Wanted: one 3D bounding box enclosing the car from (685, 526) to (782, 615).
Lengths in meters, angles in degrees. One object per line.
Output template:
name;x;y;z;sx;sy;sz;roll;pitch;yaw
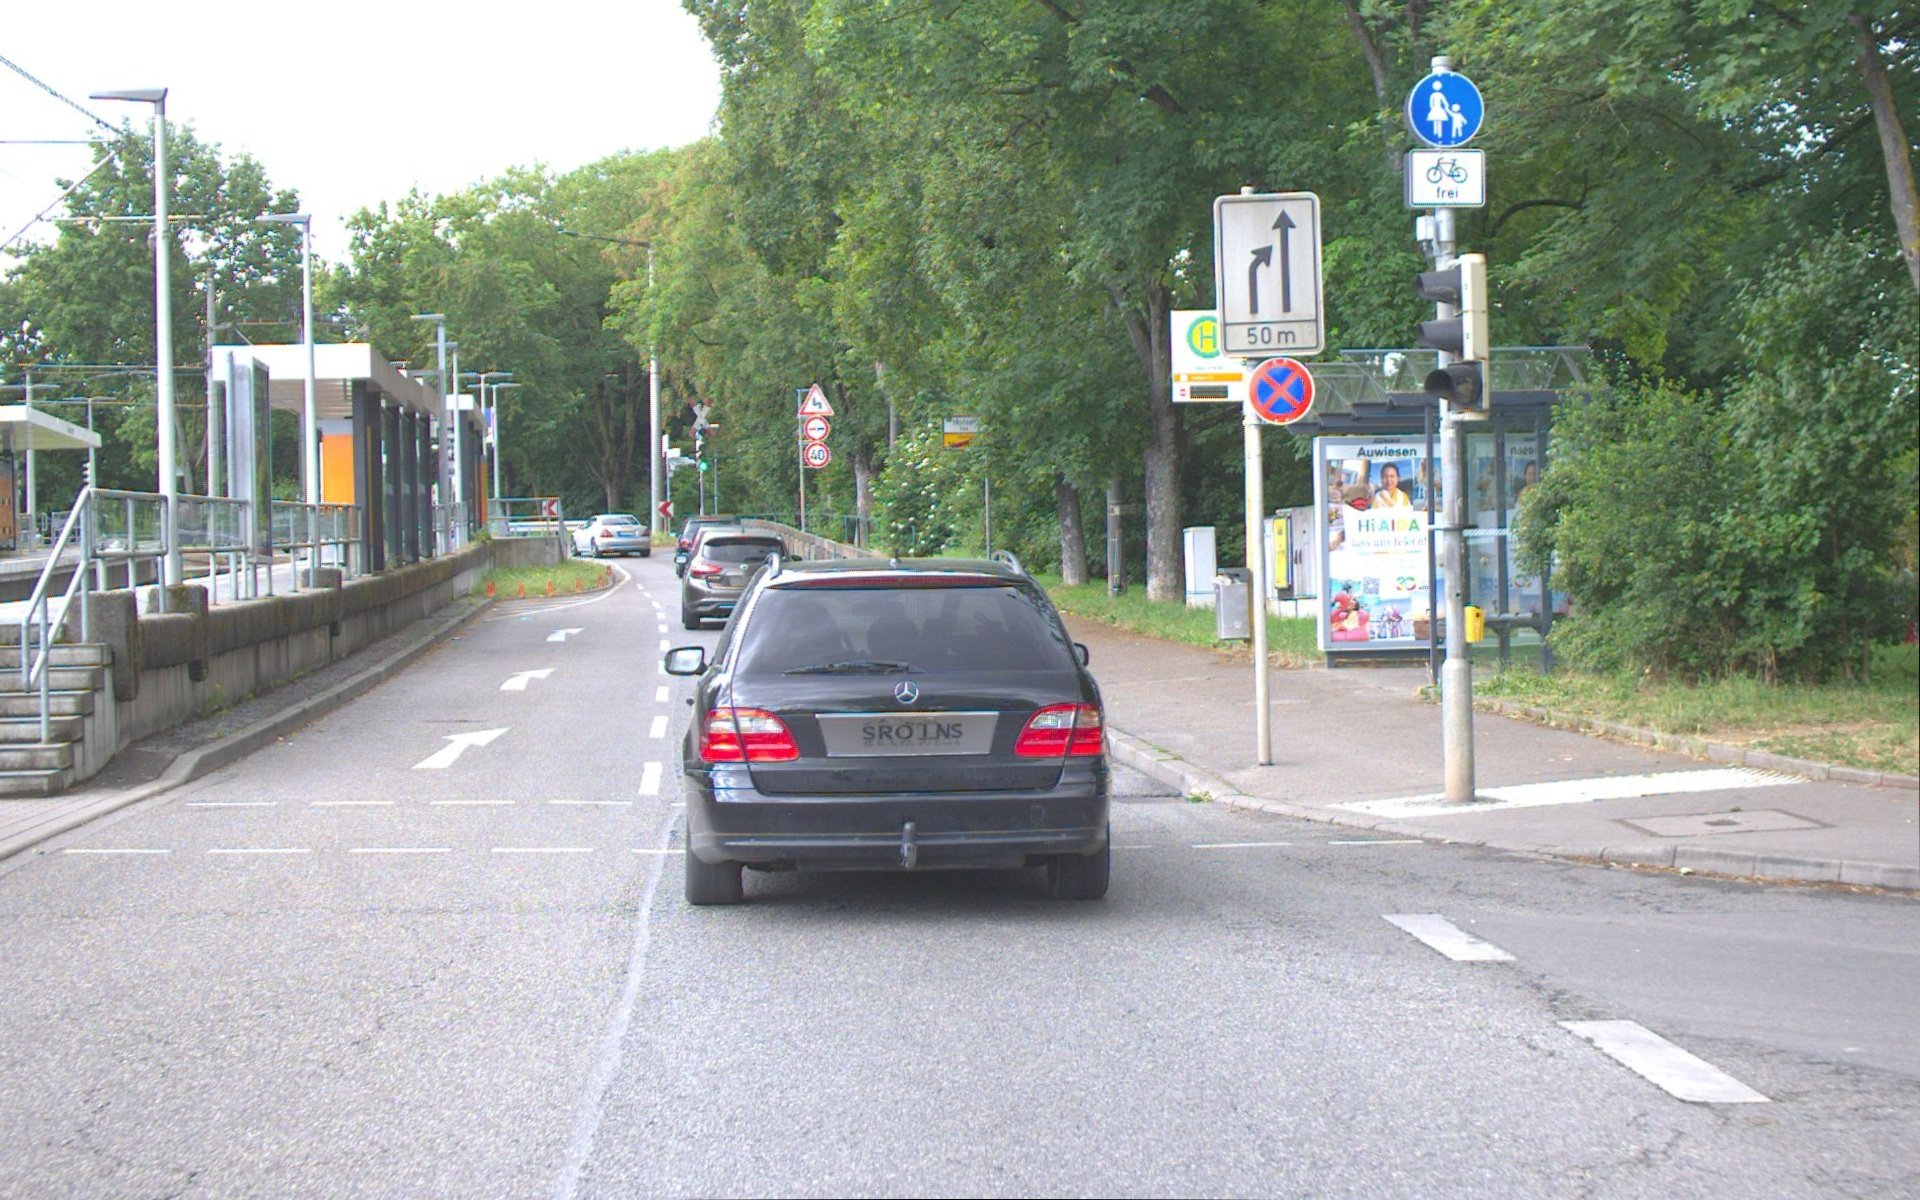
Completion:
car;-4.423;-0.559;66.623;1.781;1.642;4.001;1;0;-5

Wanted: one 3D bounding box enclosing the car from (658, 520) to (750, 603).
car;-6.161;-0.902;82.400;1.993;1.912;4.001;1;0;-7

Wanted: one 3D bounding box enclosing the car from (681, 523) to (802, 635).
car;-3.414;-0.326;53.298;1.781;1.642;4.001;1;0;-4

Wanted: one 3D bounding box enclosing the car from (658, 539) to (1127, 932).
car;-0.431;0.492;15.447;1.781;1.520;4.001;0;1;-6

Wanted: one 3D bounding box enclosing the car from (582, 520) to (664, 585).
car;-10.160;-1.409;103.360;1.993;1.886;4.001;1;0;-12
